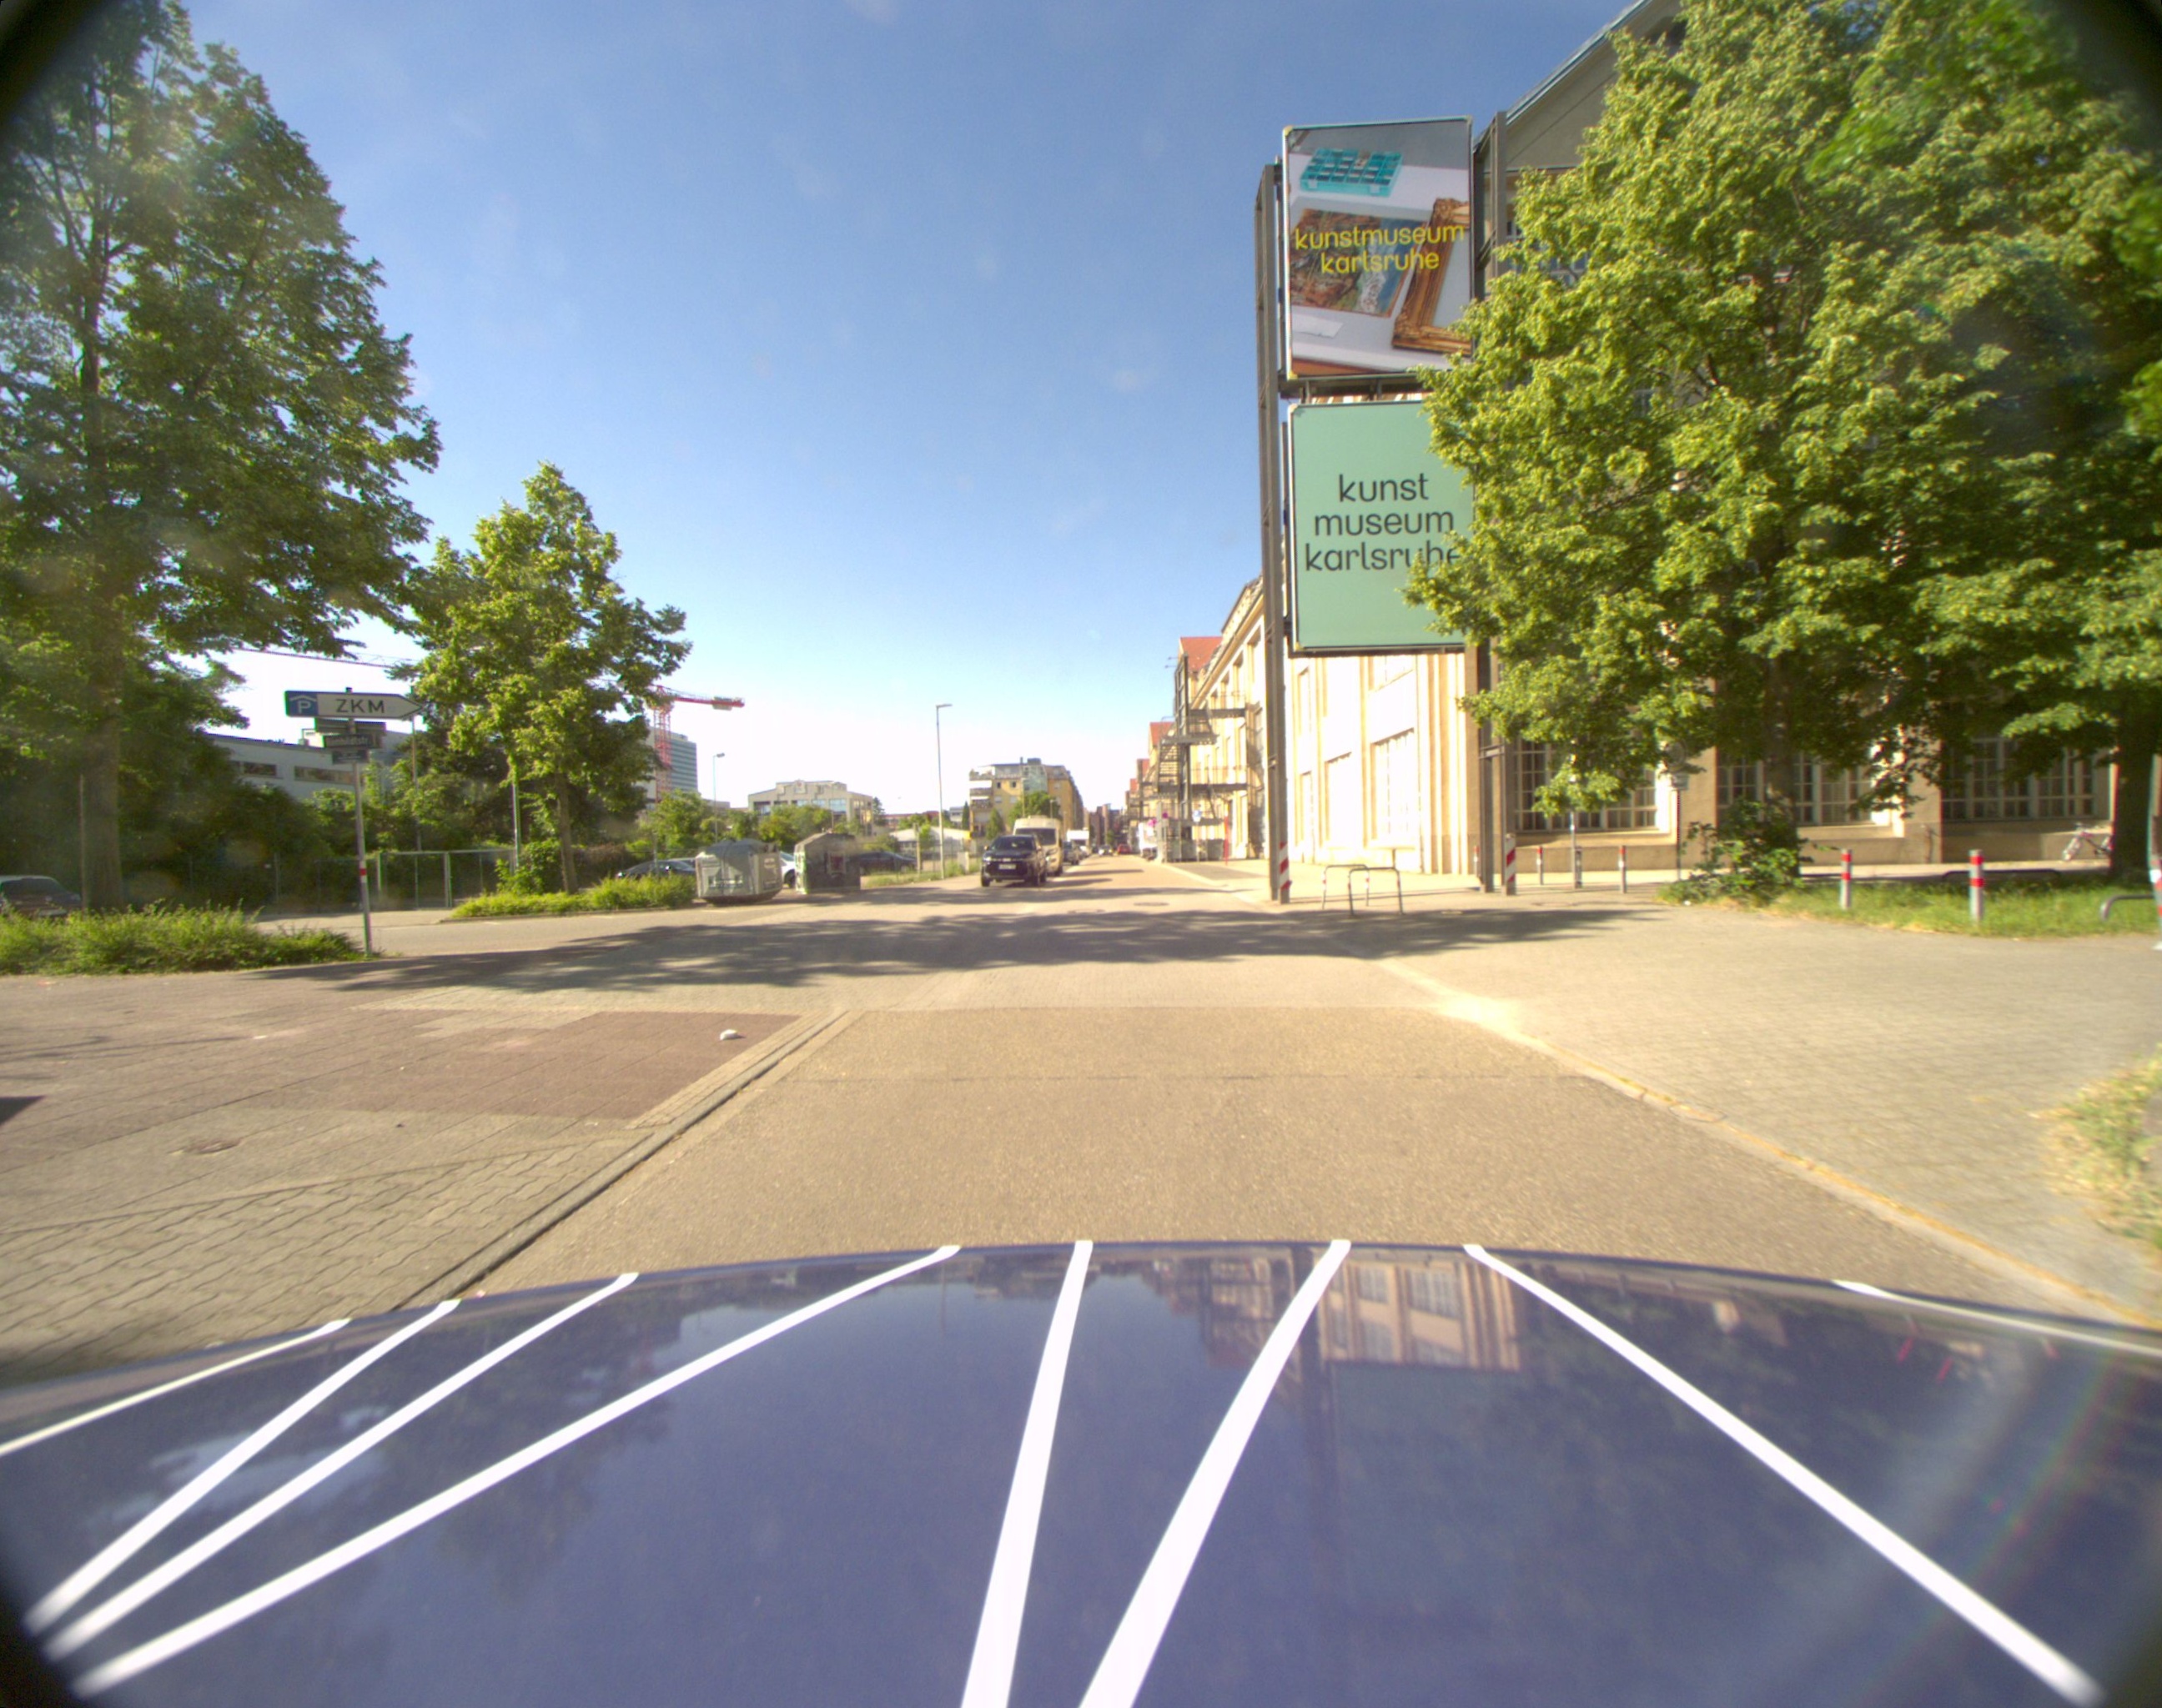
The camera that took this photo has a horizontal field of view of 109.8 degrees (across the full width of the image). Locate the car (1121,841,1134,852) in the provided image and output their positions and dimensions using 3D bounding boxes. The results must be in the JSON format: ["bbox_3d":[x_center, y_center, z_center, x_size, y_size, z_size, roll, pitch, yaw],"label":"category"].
[{"bbox_3d":[6.466,-1.091,105.529,1.759,1.440,4.000,-2,1,4],"label":"car"}]

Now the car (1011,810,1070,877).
[{"bbox_3d":[-1.646,-0.470,33.374,2.163,2.582,6.282,-2,1,0],"label":"car"}]

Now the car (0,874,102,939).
[{"bbox_3d":[-27.992,1.338,19.426,3.544,1.466,1.722,-1,3,0],"label":"car"}]

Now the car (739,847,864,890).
[{"bbox_3d":[-11.672,0.585,31.946,4.421,1.600,2.000,-2,1,5],"label":"car"}]

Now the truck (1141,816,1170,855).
[{"bbox_3d":[6.932,-1.761,71.469,2.498,3.412,7.128,-1,2,4],"label":"truck"}]

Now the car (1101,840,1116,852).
[{"bbox_3d":[3.589,-1.074,97.546,1.850,1.417,4.225,-1,1,3],"label":"car"}]

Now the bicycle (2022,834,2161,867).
[{"bbox_3d":[27.851,-0.096,20.759,2.880,0.788,0.781,-2,1,10],"label":"bicycle"}]

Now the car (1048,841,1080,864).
[{"bbox_3d":[-1.098,-0.149,51.654,1.850,1.417,4.225,-2,1,3],"label":"car"}]

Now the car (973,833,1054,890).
[{"bbox_3d":[-2.104,0.182,24.814,1.998,1.686,4.103,-1,1,4],"label":"car"}]

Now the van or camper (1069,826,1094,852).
[{"bbox_3d":[0.101,-1.682,84.535,2.722,2.841,5.133,-1,2,1],"label":"van or camper"}]

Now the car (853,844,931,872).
[{"bbox_3d":[-11.565,0.225,46.701,4.238,1.551,1.898,-2,1,5],"label":"car"}]
